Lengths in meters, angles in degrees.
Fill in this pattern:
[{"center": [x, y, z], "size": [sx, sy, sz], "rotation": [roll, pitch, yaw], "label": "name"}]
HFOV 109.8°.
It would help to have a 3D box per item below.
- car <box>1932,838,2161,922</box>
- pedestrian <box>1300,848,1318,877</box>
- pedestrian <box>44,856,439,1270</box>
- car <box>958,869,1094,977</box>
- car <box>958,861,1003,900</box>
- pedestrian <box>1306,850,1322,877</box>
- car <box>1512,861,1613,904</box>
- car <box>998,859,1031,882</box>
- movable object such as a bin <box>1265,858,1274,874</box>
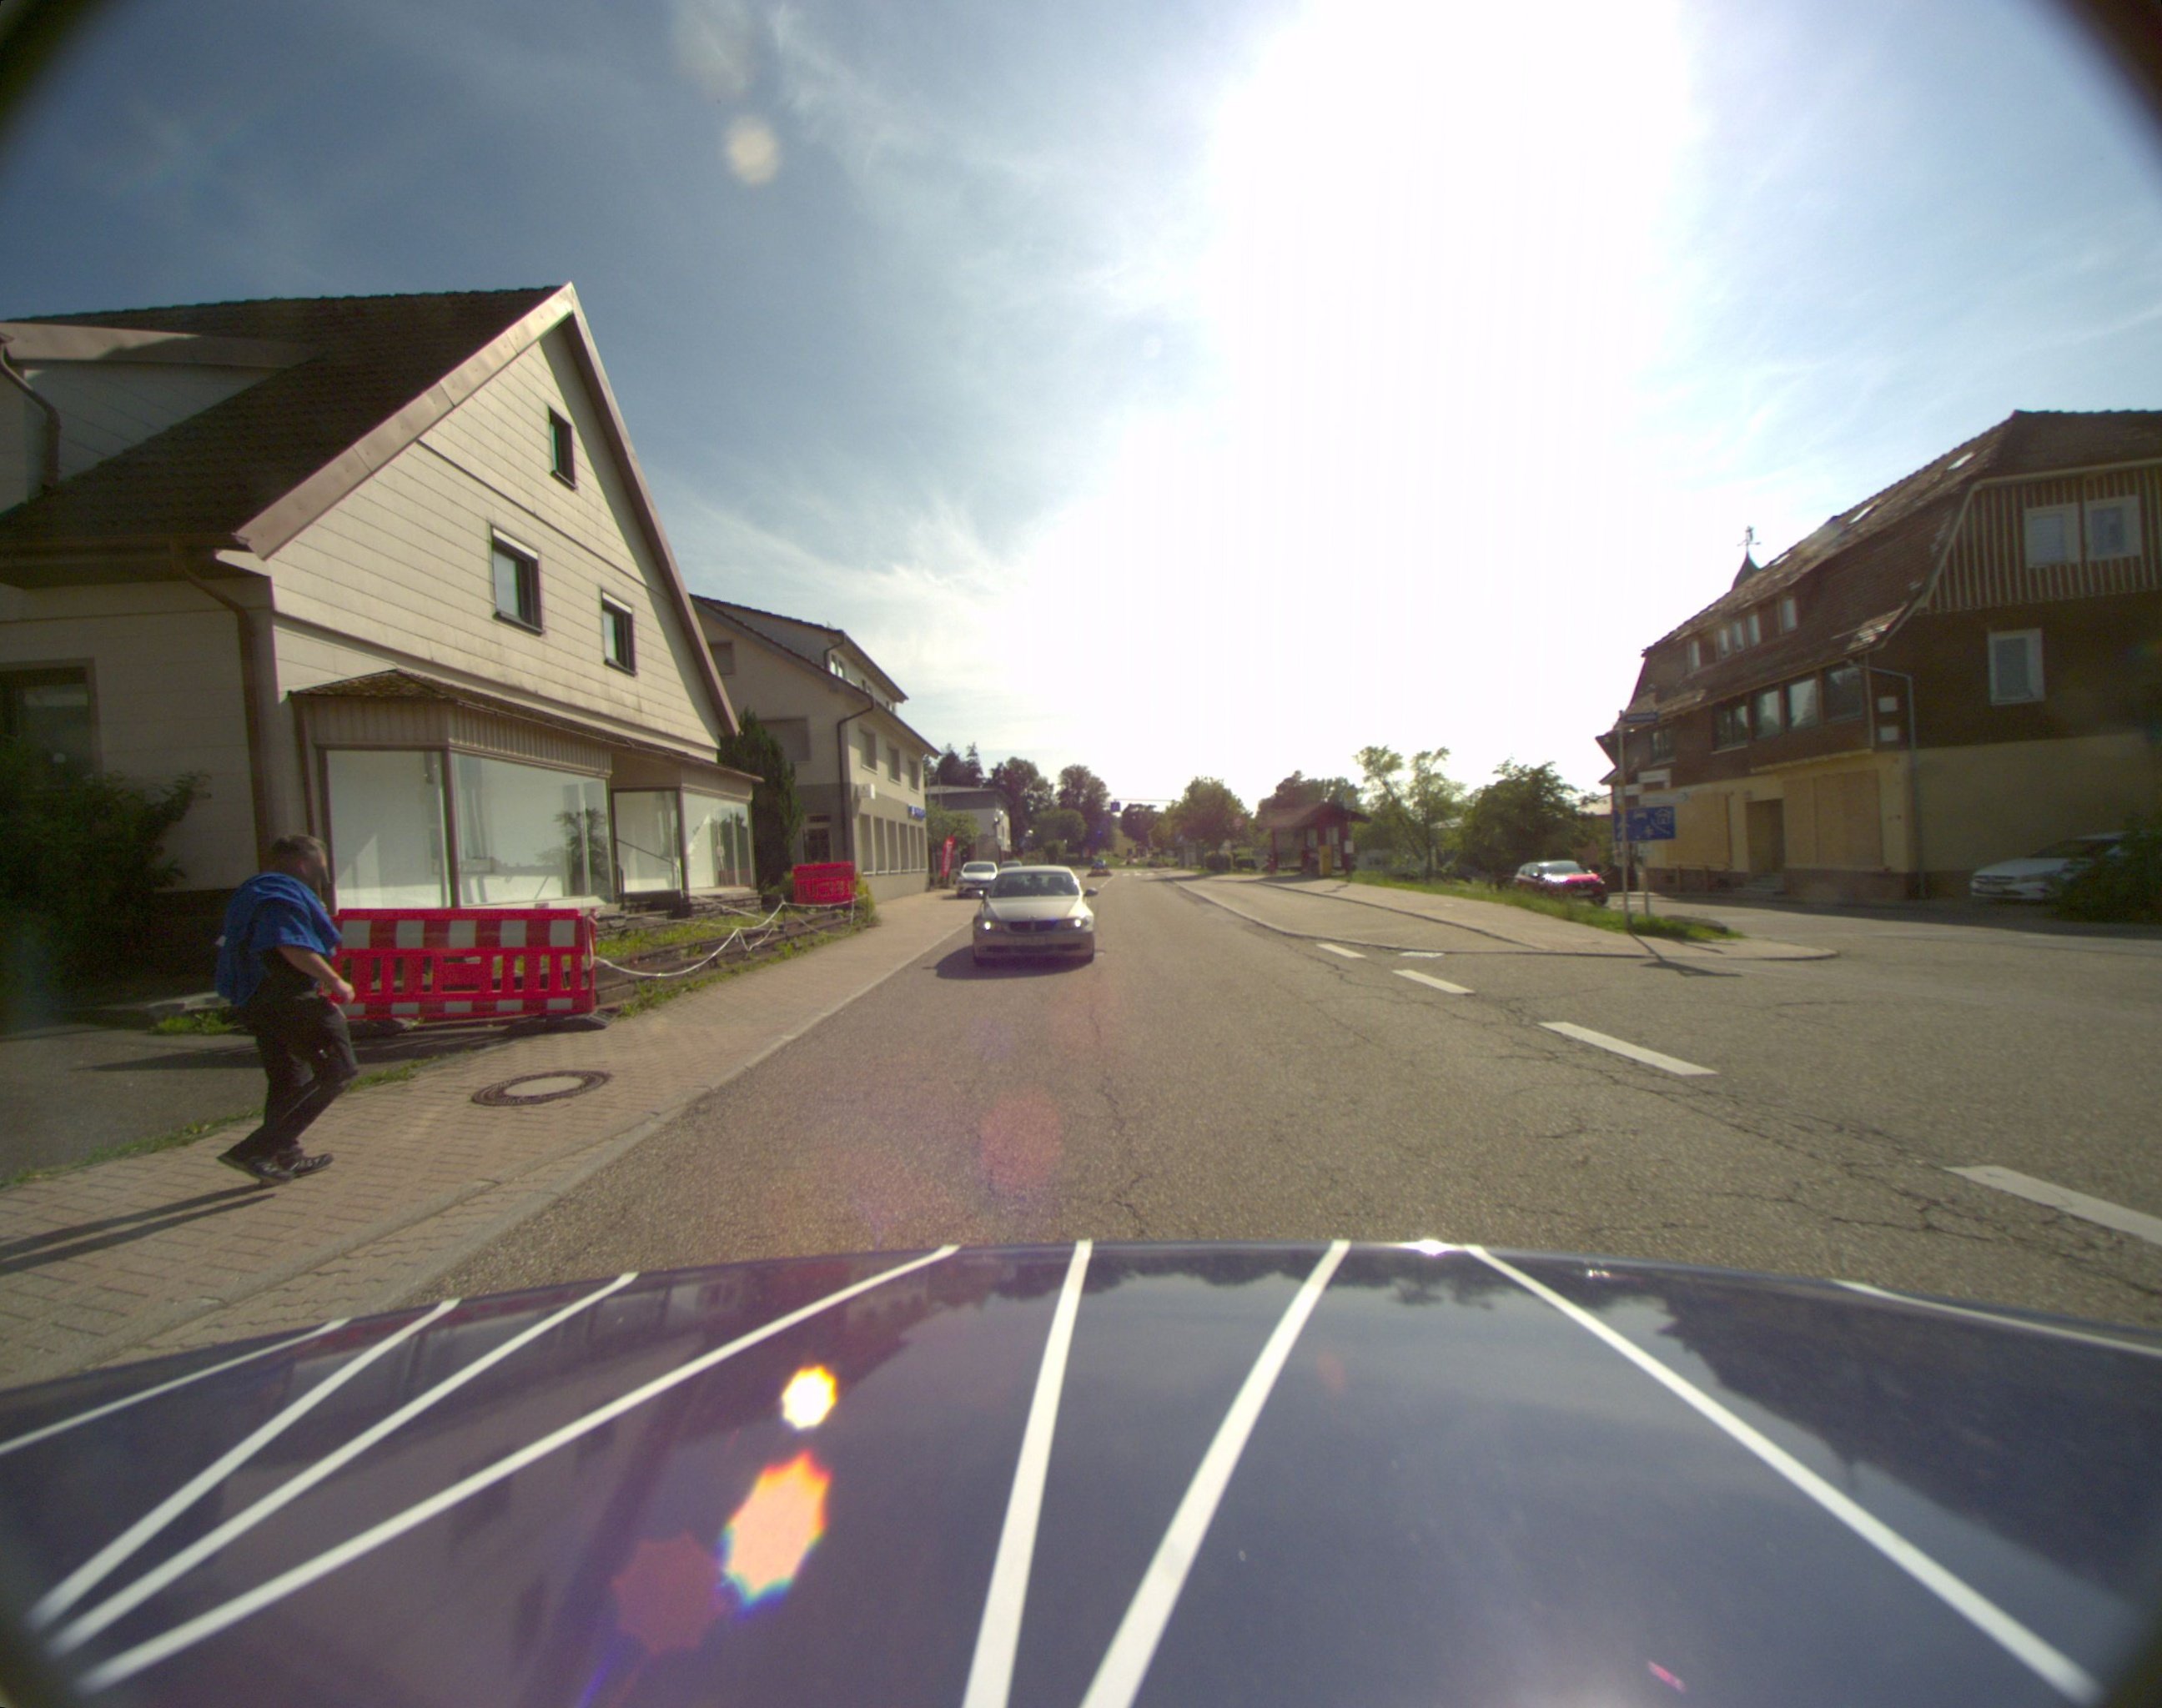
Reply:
[{"center": [22.335, 0.543, 16.918], "size": [4.309, 1.503, 1.800], "rotation": [-4, 2, 9], "label": "car"}, {"center": [10.948, 0.402, 36.444], "size": [0.619, 1.356, 0.674], "rotation": [0, -1, -2], "label": "pedestrian"}, {"center": [-4.036, 0.908, 3.763], "size": [0.801, 1.774, 0.980], "rotation": [-2, 0, 4], "label": "pedestrian"}, {"center": [-0.816, 0.985, 12.697], "size": [1.839, 1.360, 4.580], "rotation": [-1, 0, -2], "label": "car"}, {"center": [-4.086, 1.047, 31.359], "size": [1.640, 1.411, 3.933], "rotation": [-2, 0, -6], "label": "car"}, {"center": [10.982, 0.448, 35.834], "size": [0.631, 1.245, 0.423], "rotation": [0, 1, -3], "label": "pedestrian"}, {"center": [16.225, 0.915, 25.829], "size": [1.723, 1.289, 4.004], "rotation": [-1, 0, 14], "label": "car"}, {"center": [-4.326, 1.087, 49.980], "size": [1.764, 1.415, 3.634], "rotation": [-1, 0, 2], "label": "car"}, {"center": [9.666, 0.603, 38.964], "size": [0.305, 0.832, 0.485], "rotation": [-1, 1, -3], "label": "movable object such as a bin"}]
